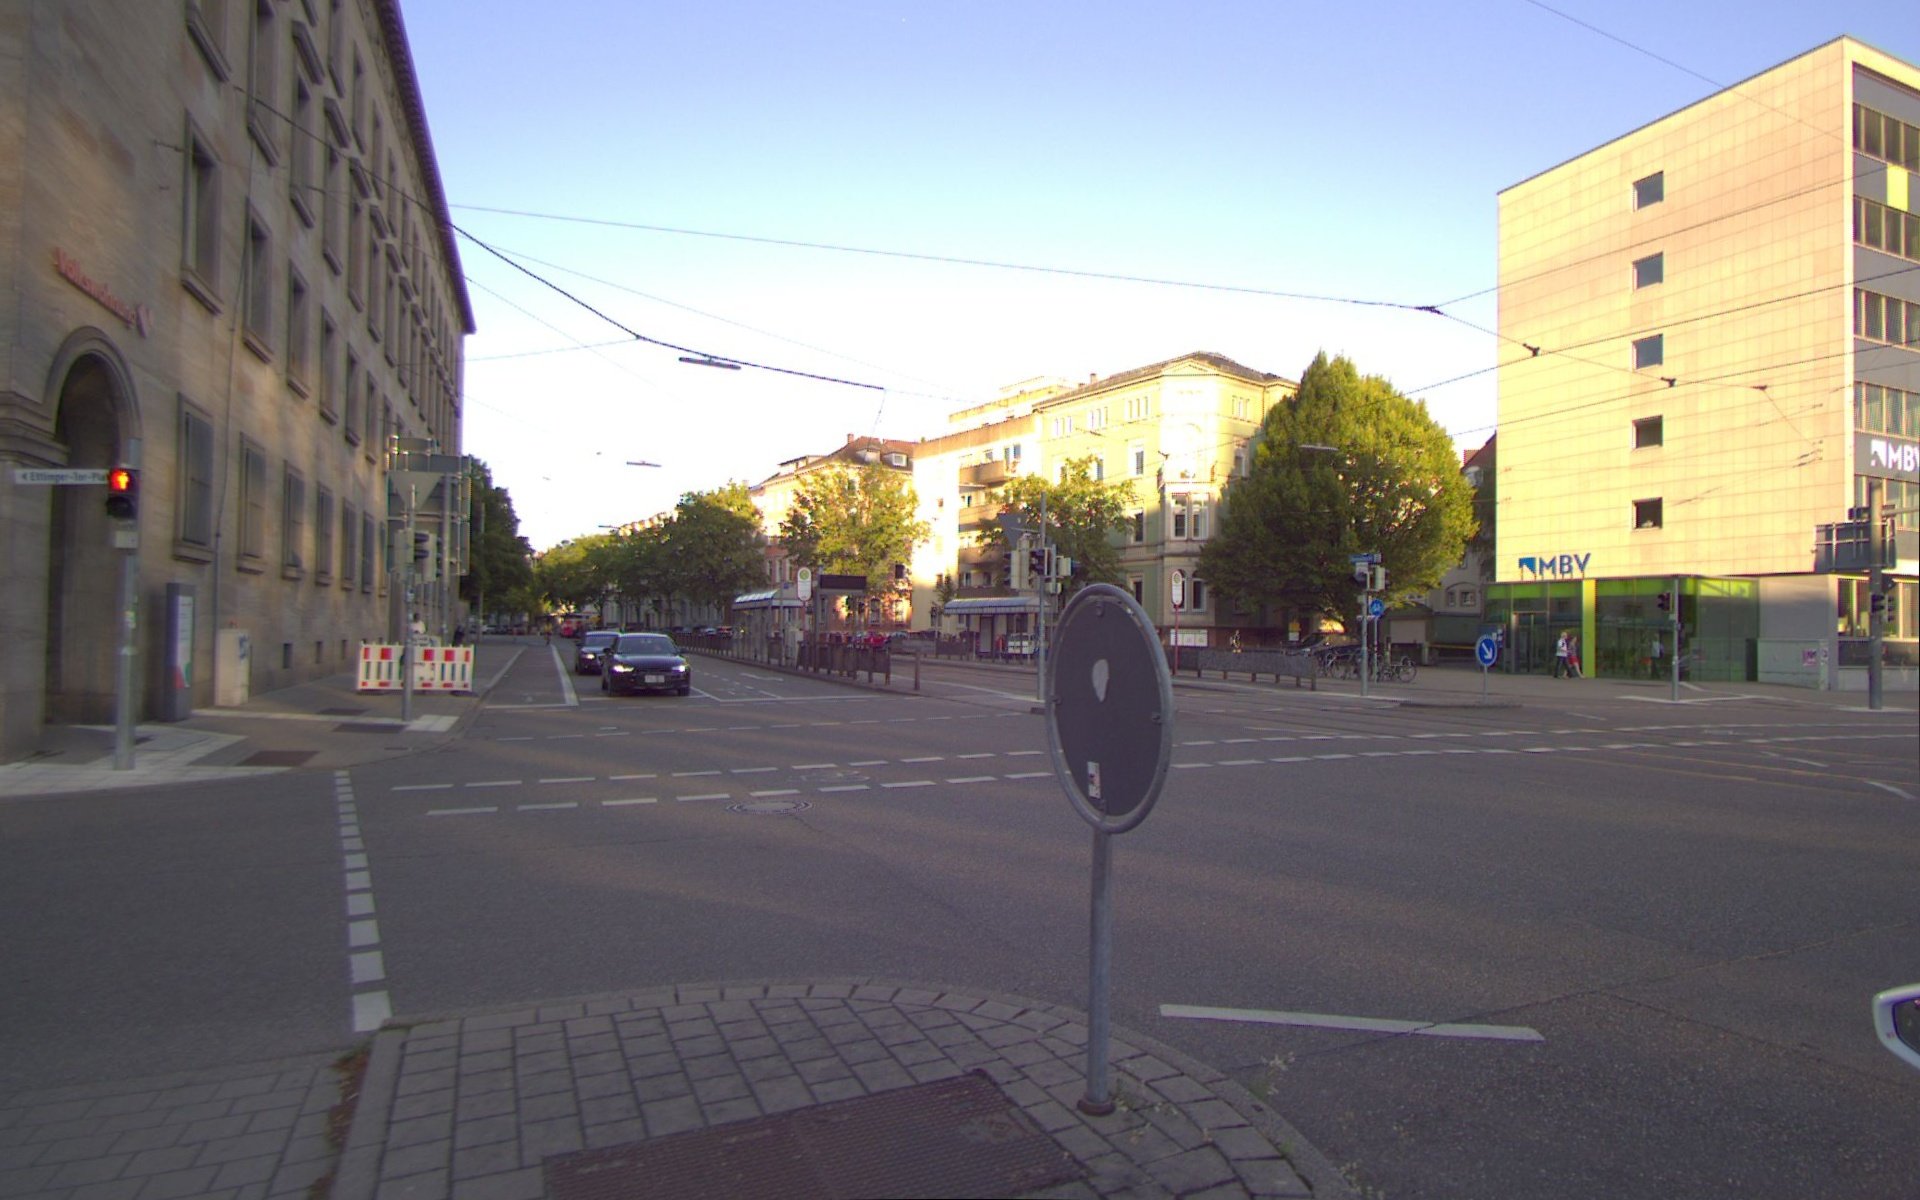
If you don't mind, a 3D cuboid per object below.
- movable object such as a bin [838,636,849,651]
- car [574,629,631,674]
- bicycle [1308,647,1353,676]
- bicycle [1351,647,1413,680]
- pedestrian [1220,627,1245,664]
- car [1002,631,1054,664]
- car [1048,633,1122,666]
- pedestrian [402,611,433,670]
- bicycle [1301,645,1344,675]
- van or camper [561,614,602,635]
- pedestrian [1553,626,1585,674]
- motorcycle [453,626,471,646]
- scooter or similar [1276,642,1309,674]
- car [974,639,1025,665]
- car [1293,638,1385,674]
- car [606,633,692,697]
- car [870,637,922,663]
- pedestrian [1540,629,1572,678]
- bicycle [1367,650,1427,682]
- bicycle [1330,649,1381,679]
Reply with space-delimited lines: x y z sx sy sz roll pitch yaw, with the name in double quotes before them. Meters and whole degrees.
"movable object such as a bin" -8.960 3.357 77.217 0.705 1.169 0.585 2 -2 -24
"car" -12.402 1.757 34.694 1.625 1.446 3.950 2 -2 -23
"bicycle" 14.261 2.366 38.628 1.533 1.089 0.740 2 -2 -21
"bicycle" 15.396 2.314 36.629 2.204 1.147 0.740 0 -1 -22
"pedestrian" 13.313 2.198 49.070 0.702 1.791 0.979 2 -2 -38
"car" 4.041 2.781 59.012 1.689 1.747 4.209 2 -2 23
"car" 6.487 2.556 52.614 1.667 1.573 3.963 -2 0 -33
"pedestrian" -16.223 1.220 30.051 0.687 1.732 0.643 1 -2 -20
"bicycle" 14.451 2.384 40.097 1.508 1.178 0.740 2 -2 -21
"van or camper" -50.441 3.242 134.052 2.046 2.564 5.549 -2 0 19
"pedestrian" 22.773 1.863 37.581 0.698 1.791 0.743 2 -2 -22
"motorcycle" -27.376 1.988 55.249 0.690 1.089 2.639 1 -2 -23
"scooter or similar" 13.646 2.365 41.206 1.186 1.241 0.588 0 -1 -23
"car" 2.444 3.141 60.811 1.614 1.473 4.208 0 -2 24
"car" 17.773 2.625 47.072 3.941 1.594 1.794 2 -2 -23
"car" -7.789 1.553 24.953 1.625 1.446 4.209 2 -2 -23
"car" -4.322 3.328 67.739 1.730 1.653 4.051 0 -1 -33
"pedestrian" 22.131 1.986 37.300 0.698 1.791 0.731 2 -2 -22
"bicycle" 15.449 2.323 35.536 1.830 1.089 0.744 0 -2 -6
"bicycle" 14.710 2.380 37.320 1.735 1.089 0.740 2 -2 -21
